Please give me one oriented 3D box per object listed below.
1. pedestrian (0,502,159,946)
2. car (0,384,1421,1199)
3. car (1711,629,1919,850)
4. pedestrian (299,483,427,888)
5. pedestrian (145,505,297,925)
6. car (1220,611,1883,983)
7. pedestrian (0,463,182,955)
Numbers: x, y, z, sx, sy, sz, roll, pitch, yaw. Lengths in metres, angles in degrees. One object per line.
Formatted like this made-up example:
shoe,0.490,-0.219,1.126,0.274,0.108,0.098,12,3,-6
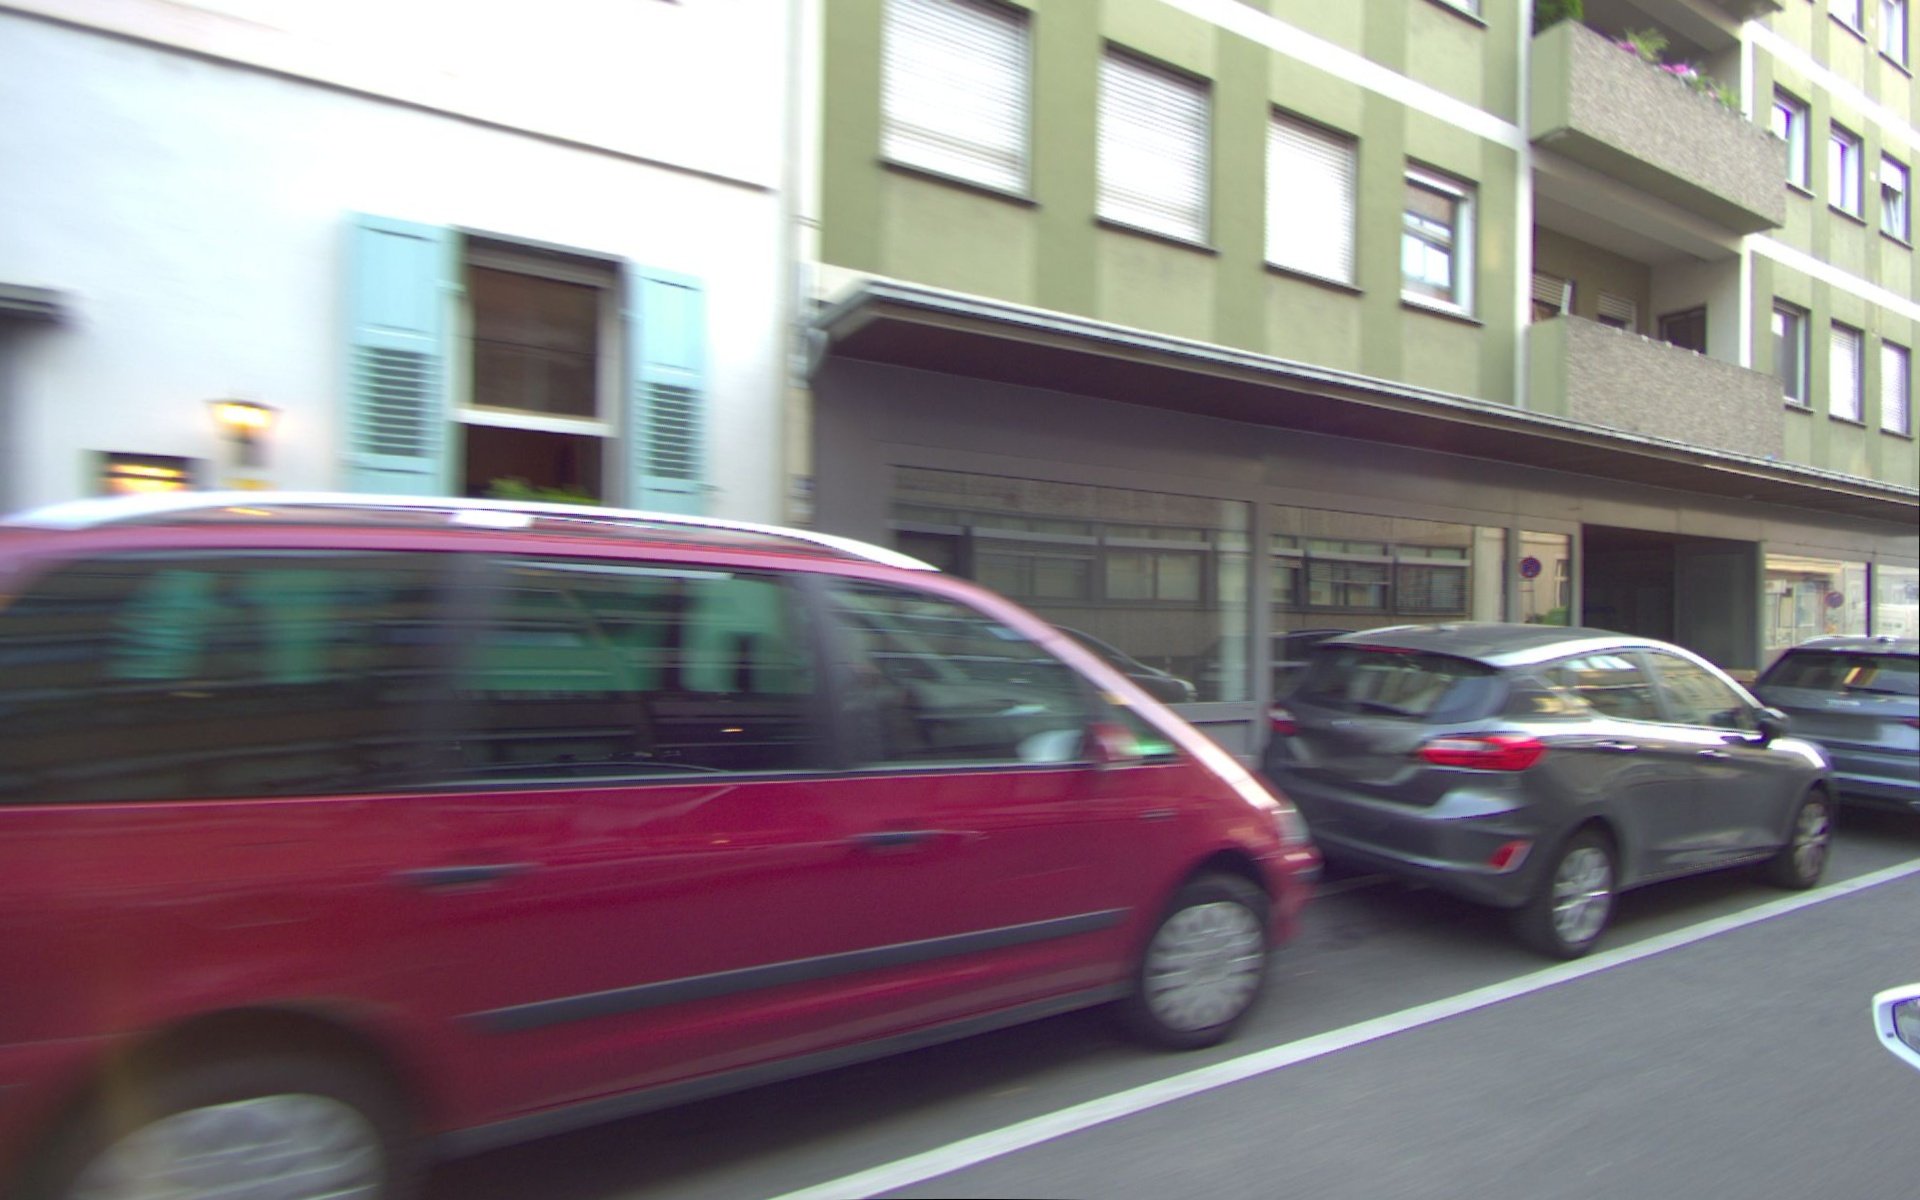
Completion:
pedestrian,-3.772,0.502,4.276,0.464,1.773,0.404,1,-1,-28
car,-0.617,0.587,3.379,4.459,1.835,1.763,1,-1,-32
car,7.826,0.983,8.011,3.936,1.434,1.615,2,-1,-32
pedestrian,-2.775,0.380,4.700,0.464,1.773,0.404,1,-1,-28
pedestrian,-3.318,0.490,4.540,0.464,1.773,0.404,1,-1,-28
car,3.468,0.860,5.749,3.832,1.504,1.617,2,-2,-30
pedestrian,-3.391,0.398,3.915,0.464,1.773,0.447,1,-1,-28
